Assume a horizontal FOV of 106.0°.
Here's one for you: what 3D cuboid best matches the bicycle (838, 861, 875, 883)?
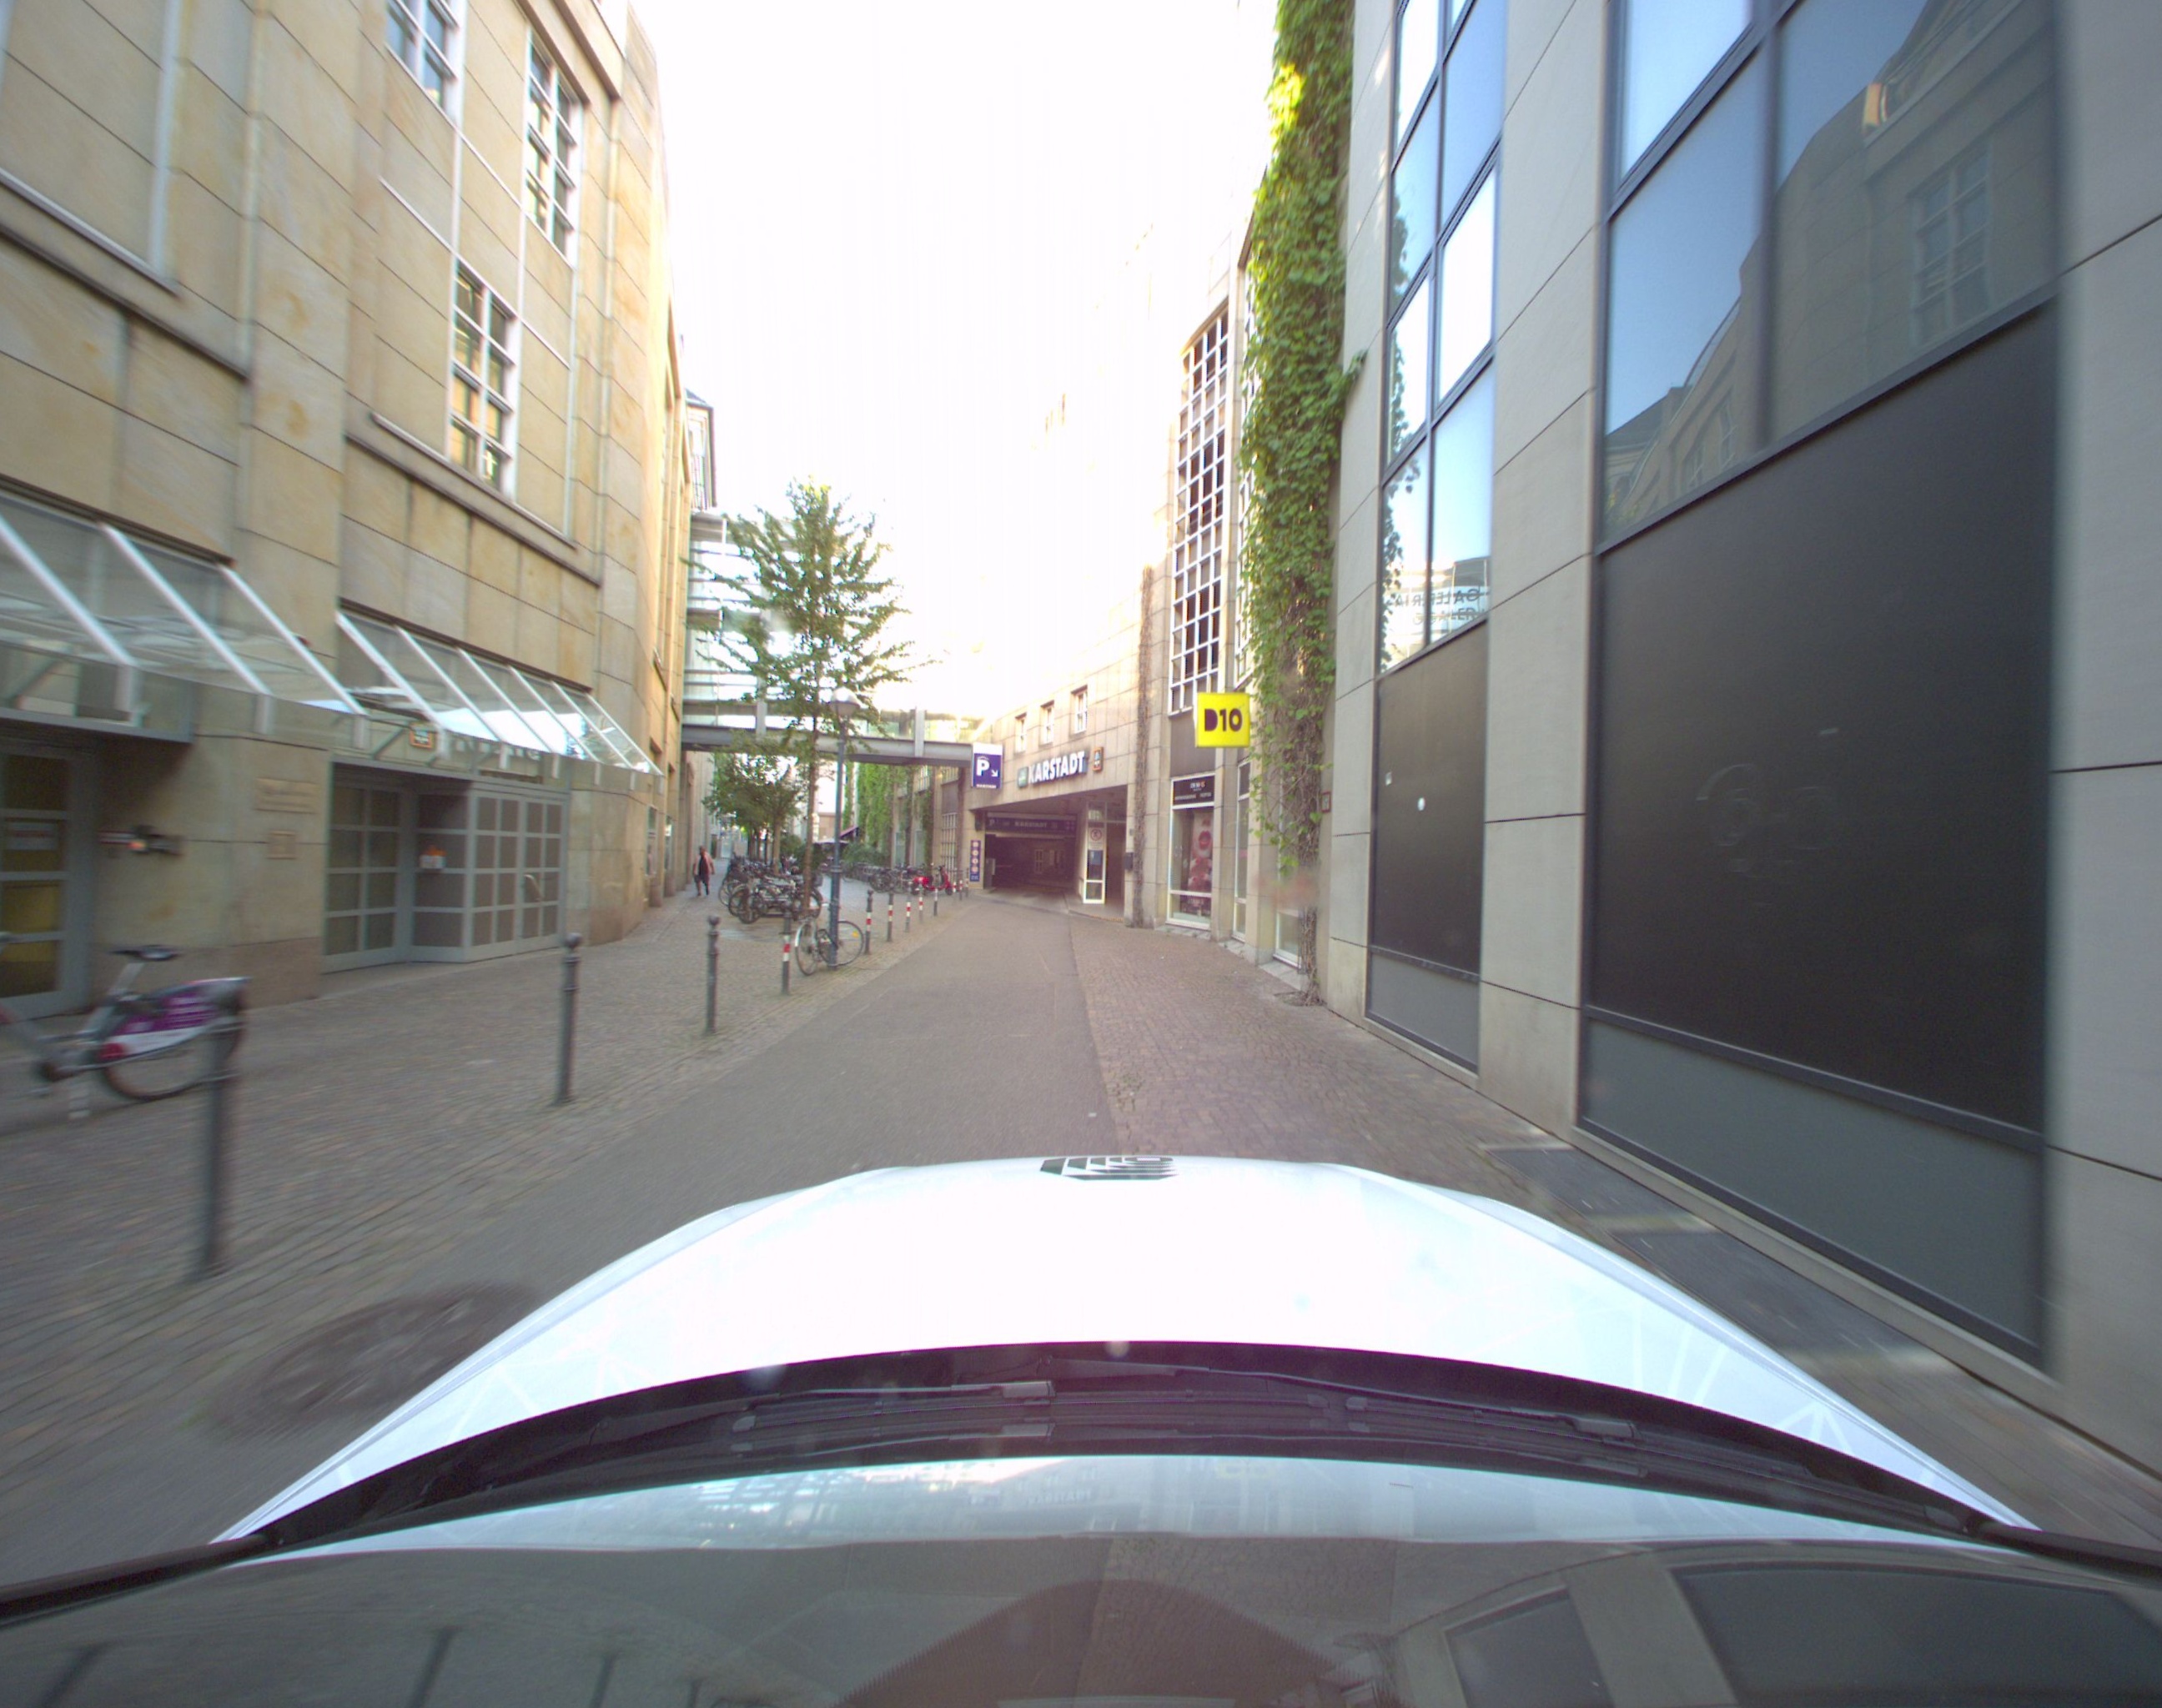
[{"bbox_3d":[-11.586,0.951,41.981,1.781,1.114,0.538,1,-1,-23],"label":"bicycle"}]

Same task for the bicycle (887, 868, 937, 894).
[{"bbox_3d":[-6.502,1.024,31.363,1.856,0.982,0.460,1,-1,-24],"label":"bicycle"}]

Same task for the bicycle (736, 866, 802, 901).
[{"bbox_3d":[-9.748,0.917,25.495,1.886,1.043,0.530,1,0,-26],"label":"bicycle"}]

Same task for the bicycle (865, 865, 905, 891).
[{"bbox_3d":[-8.200,1.016,34.043,1.546,1.049,0.571,1,-1,-23],"label":"bicycle"}]

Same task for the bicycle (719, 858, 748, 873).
[{"bbox_3d":[-25.532,0.846,59.817,1.914,1.112,0.477,1,0,-27],"label":"bicycle"}]

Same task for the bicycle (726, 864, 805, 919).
[{"bbox_3d":[-7.272,0.846,18.804,1.662,1.231,0.530,1,0,-26],"label":"bicycle"}]

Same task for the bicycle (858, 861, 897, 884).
[{"bbox_3d":[-9.978,0.892,39.911,1.781,1.114,0.538,1,-1,-23],"label":"bicycle"}]

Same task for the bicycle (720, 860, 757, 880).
[{"bbox_3d":[-19.597,0.917,46.551,1.913,1.112,0.477,1,0,-26],"label":"bicycle"}]

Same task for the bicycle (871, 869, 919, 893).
[{"bbox_3d":[-7.337,1.060,32.165,1.781,0.904,0.460,1,-1,-24],"label":"bicycle"}]

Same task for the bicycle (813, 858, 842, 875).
[{"bbox_3d":[-16.729,0.827,53.795,1.781,1.079,0.582,1,-1,-23],"label":"bicycle"}]

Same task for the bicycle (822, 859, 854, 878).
[{"bbox_3d":[-14.210,0.854,47.605,1.779,1.114,0.539,1,-1,-21],"label":"bicycle"}]

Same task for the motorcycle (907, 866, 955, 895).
[{"bbox_3d":[-5.498,0.973,29.819,1.670,1.050,0.460,1,-1,-24],"label":"motorcycle"}]

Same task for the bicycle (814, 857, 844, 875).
[{"bbox_3d":[-16.325,0.781,52.676,1.781,1.190,0.582,1,-1,-23],"label":"bicycle"}]

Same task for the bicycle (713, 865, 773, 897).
[{"bbox_3d":[-11.268,0.891,27.164,1.834,1.043,0.530,1,0,-26],"label":"bicycle"}]

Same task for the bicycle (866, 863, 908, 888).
[{"bbox_3d":[-8.723,0.954,36.584,1.781,1.114,0.538,1,-1,-23],"label":"bicycle"}]

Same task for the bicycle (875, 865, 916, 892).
[{"bbox_3d":[-7.525,0.999,33.105,1.546,1.049,0.571,1,-1,-23],"label":"bicycle"}]

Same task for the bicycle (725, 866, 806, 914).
[{"bbox_3d":[-7.969,0.895,20.609,1.881,1.177,0.530,1,0,-26],"label":"bicycle"}]

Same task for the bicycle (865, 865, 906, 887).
[{"bbox_3d":[-9.038,1.028,37.665,1.781,0.992,0.538,1,-1,-23],"label":"bicycle"}]

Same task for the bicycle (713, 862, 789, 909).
[{"bbox_3d":[-8.819,0.835,21.764,1.842,1.225,0.530,1,0,-26],"label":"bicycle"}]

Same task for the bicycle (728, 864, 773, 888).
[{"bbox_3d":[-14.437,0.973,35.534,1.788,1.019,0.477,1,0,-26],"label":"bicycle"}]

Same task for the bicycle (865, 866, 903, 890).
[{"bbox_3d":[-8.570,1.040,35.418,1.546,1.049,0.571,1,-1,-23],"label":"bicycle"}]

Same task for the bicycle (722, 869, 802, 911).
[{"bbox_3d":[-8.273,0.925,21.121,1.903,1.052,0.530,1,0,-26],"label":"bicycle"}]

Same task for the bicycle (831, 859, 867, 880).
[{"bbox_3d":[-12.452,0.854,43.736,1.781,1.114,0.538,1,-1,-23],"label":"bicycle"}]

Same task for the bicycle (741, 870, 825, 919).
[{"bbox_3d":[-7.199,0.960,19.700,1.845,1.122,0.530,1,0,-26],"label":"bicycle"}]

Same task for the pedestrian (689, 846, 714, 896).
[{"bbox_3d":[-12.221,0.543,26.244,0.701,1.582,0.713,1,-1,-25],"label":"pedestrian"}]

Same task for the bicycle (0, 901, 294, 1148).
[{"bbox_3d":[-5.467,0.872,4.363,0.518,1.138,1.771,1,0,14],"label":"bicycle"}]

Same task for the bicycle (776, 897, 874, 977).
[{"bbox_3d":[-3.505,1.114,11.306,0.489,0.939,1.665,2,0,12],"label":"bicycle"}]

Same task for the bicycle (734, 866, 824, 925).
[{"bbox_3d":[-6.500,0.875,17.570,1.775,1.231,0.530,1,0,-26],"label":"bicycle"}]

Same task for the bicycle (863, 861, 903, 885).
[{"bbox_3d":[-9.450,0.912,38.819,1.781,1.114,0.538,1,-1,-23],"label":"bicycle"}]

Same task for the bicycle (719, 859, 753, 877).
[{"bbox_3d":[-21.393,0.892,50.566,1.913,1.112,0.477,1,0,-26],"label":"bicycle"}]

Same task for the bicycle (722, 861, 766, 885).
[{"bbox_3d":[-15.048,0.852,36.336,1.788,1.019,0.477,1,0,-26],"label":"bicycle"}]
